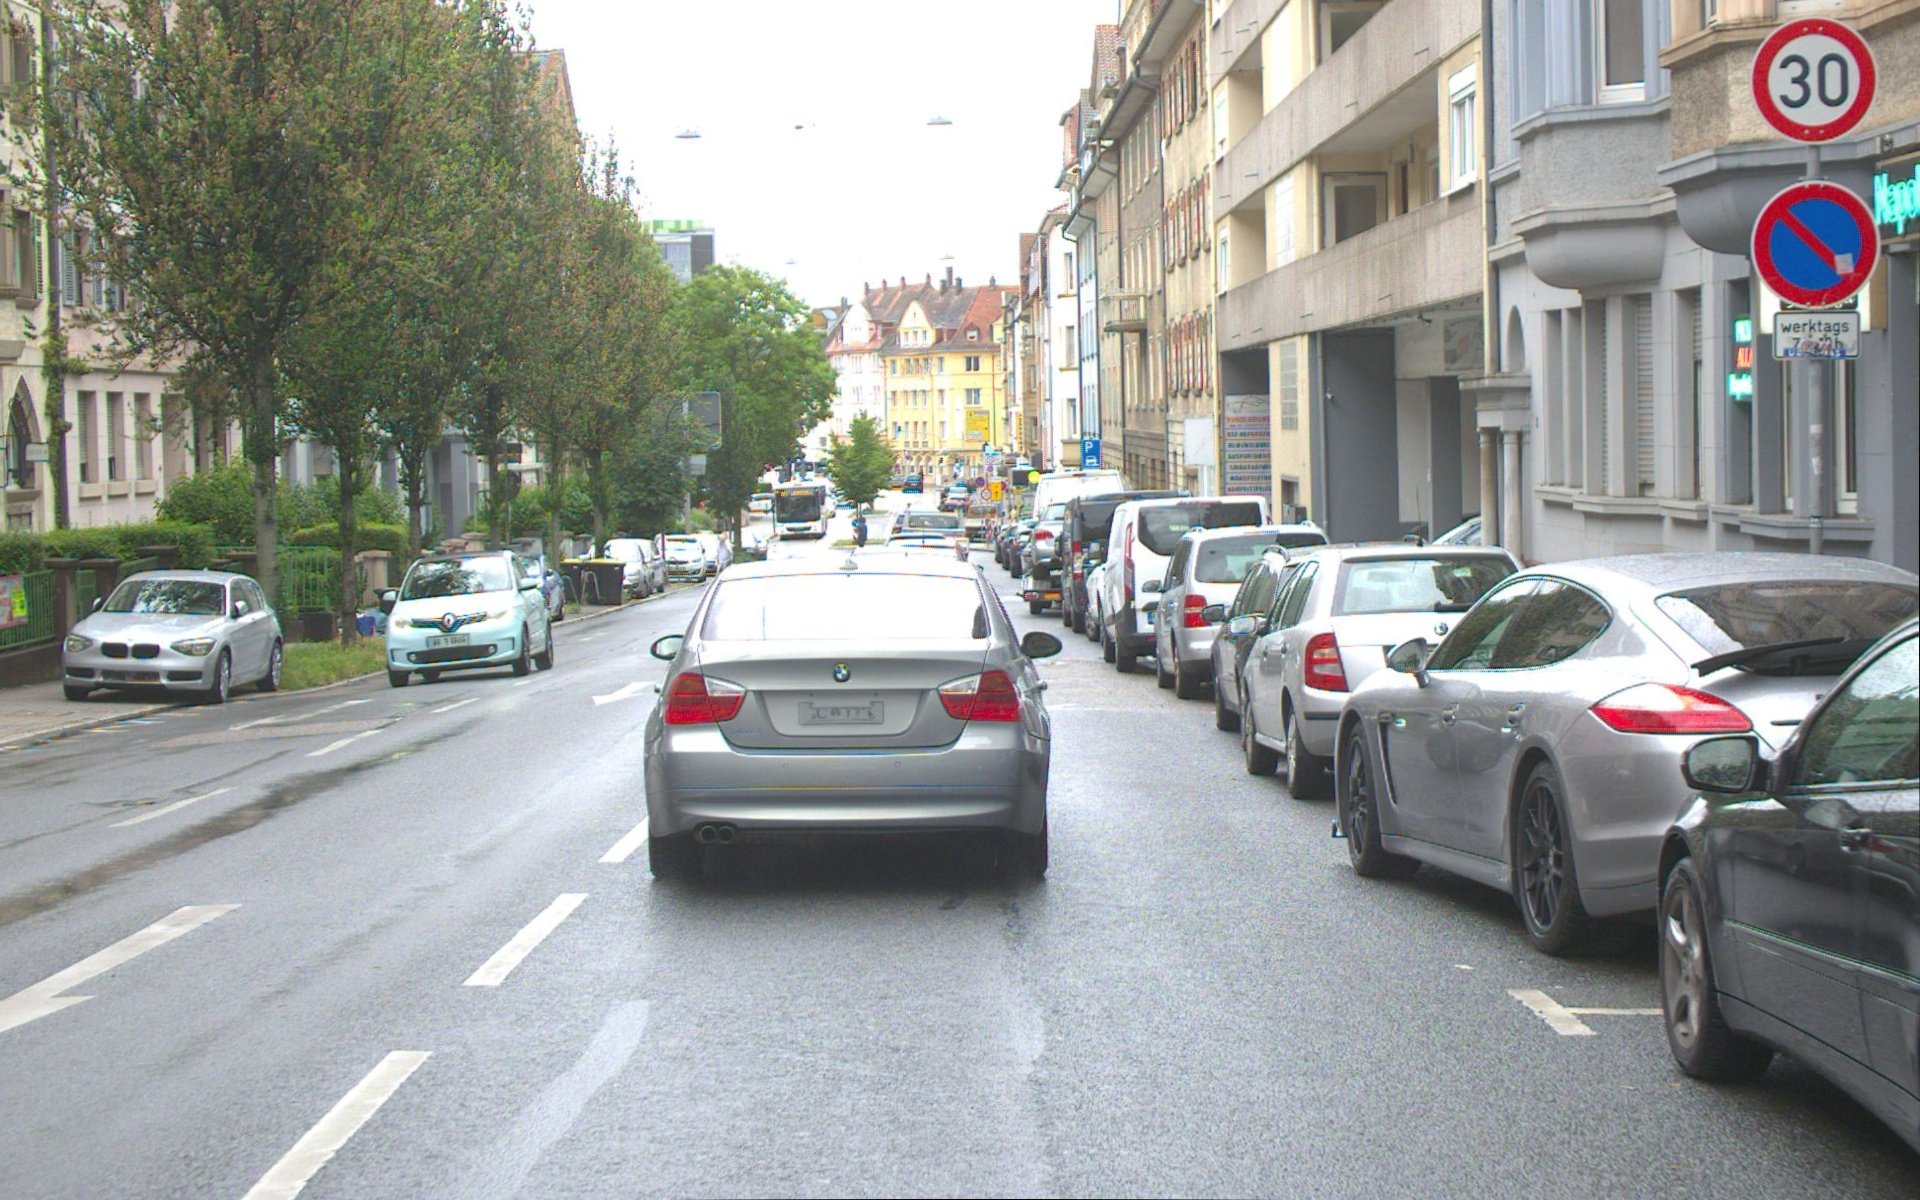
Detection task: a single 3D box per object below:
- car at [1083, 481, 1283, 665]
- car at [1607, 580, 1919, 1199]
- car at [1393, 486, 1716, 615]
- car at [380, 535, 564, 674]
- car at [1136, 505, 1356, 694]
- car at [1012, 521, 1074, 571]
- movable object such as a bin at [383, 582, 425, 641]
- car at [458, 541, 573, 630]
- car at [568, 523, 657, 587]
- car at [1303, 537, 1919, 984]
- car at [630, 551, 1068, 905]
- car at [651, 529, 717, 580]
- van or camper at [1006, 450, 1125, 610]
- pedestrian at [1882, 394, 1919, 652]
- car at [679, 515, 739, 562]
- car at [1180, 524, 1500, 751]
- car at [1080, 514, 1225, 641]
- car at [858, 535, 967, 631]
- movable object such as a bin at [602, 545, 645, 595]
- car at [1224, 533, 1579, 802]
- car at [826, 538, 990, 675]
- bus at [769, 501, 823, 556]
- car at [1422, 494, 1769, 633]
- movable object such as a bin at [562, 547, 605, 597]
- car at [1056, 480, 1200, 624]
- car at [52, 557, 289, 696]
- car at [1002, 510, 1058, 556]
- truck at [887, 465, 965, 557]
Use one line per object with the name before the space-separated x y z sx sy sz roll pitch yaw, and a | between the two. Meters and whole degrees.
car | 2.598 -0.352 41.027 1.982 2.000 4.625 -2 1 0
car | 2.771 0.674 8.046 1.677 1.370 4.276 0 1 0
car | 8.230 -0.689 47.476 4.289 1.635 1.666 -1 3 13
car | -5.916 0.017 42.052 1.636 1.503 3.755 -4 1 0
car | 2.785 -0.051 34.305 1.726 1.664 4.289 -3 1 0
car | 2.493 -1.646 104.246 1.697 1.478 3.976 0 1 -1
movable object such as a bin | -8.955 0.179 55.347 0.574 0.909 0.640 -2 1 -14
car | -8.774 -0.308 68.122 1.766 1.588 4.001 -3 1 -1
car | -9.013 -1.191 89.438 1.827 1.518 3.736 -3 1 1
car | 2.798 0.483 13.696 1.875 1.462 4.776 0 1 -6
car | -0.612 0.492 15.792 1.769 1.423 3.742 0 1 -5
car | -8.805 -1.469 109.833 1.691 1.518 3.736 -3 1 1
van or camper | 2.089 -1.366 66.314 2.033 2.859 6.884 2 1 3
pedestrian | 6.244 -0.489 21.610 0.483 1.614 0.667 -3 1 -30
car | -8.717 -2.166 119.554 1.691 1.518 3.736 -3 1 1
car | 2.823 0.209 26.577 1.900 1.473 4.799 -4 1 1
car | 2.684 -0.350 48.685 1.726 1.664 4.289 -2 1 0
car | -0.773 -0.288 55.326 1.697 1.478 3.794 0 1 -1
movable object such as a bin | -7.988 -0.710 81.691 0.935 1.164 0.909 -1 1 0
car | 2.577 0.330 20.876 1.611 1.469 4.016 0 1 0
car | -0.524 0.036 37.614 1.682 1.423 3.741 0 1 1
bus | -9.346 -4.090 196.872 2.668 3.013 7.671 -2 1 0
car | 8.188 -0.475 44.258 4.289 1.635 1.666 -1 3 13
movable object such as a bin | -8.939 -0.668 81.703 0.902 1.164 0.895 -1 1 0
car | 2.674 -0.793 55.720 1.982 2.158 4.750 -2 1 0
car | -8.927 0.262 39.185 1.726 1.478 3.989 1 1 1
car | 2.312 -2.214 114.121 1.697 1.478 3.976 0 1 -1
truck | -0.927 -2.360 92.360 2.032 2.404 4.827 0 1 -1
